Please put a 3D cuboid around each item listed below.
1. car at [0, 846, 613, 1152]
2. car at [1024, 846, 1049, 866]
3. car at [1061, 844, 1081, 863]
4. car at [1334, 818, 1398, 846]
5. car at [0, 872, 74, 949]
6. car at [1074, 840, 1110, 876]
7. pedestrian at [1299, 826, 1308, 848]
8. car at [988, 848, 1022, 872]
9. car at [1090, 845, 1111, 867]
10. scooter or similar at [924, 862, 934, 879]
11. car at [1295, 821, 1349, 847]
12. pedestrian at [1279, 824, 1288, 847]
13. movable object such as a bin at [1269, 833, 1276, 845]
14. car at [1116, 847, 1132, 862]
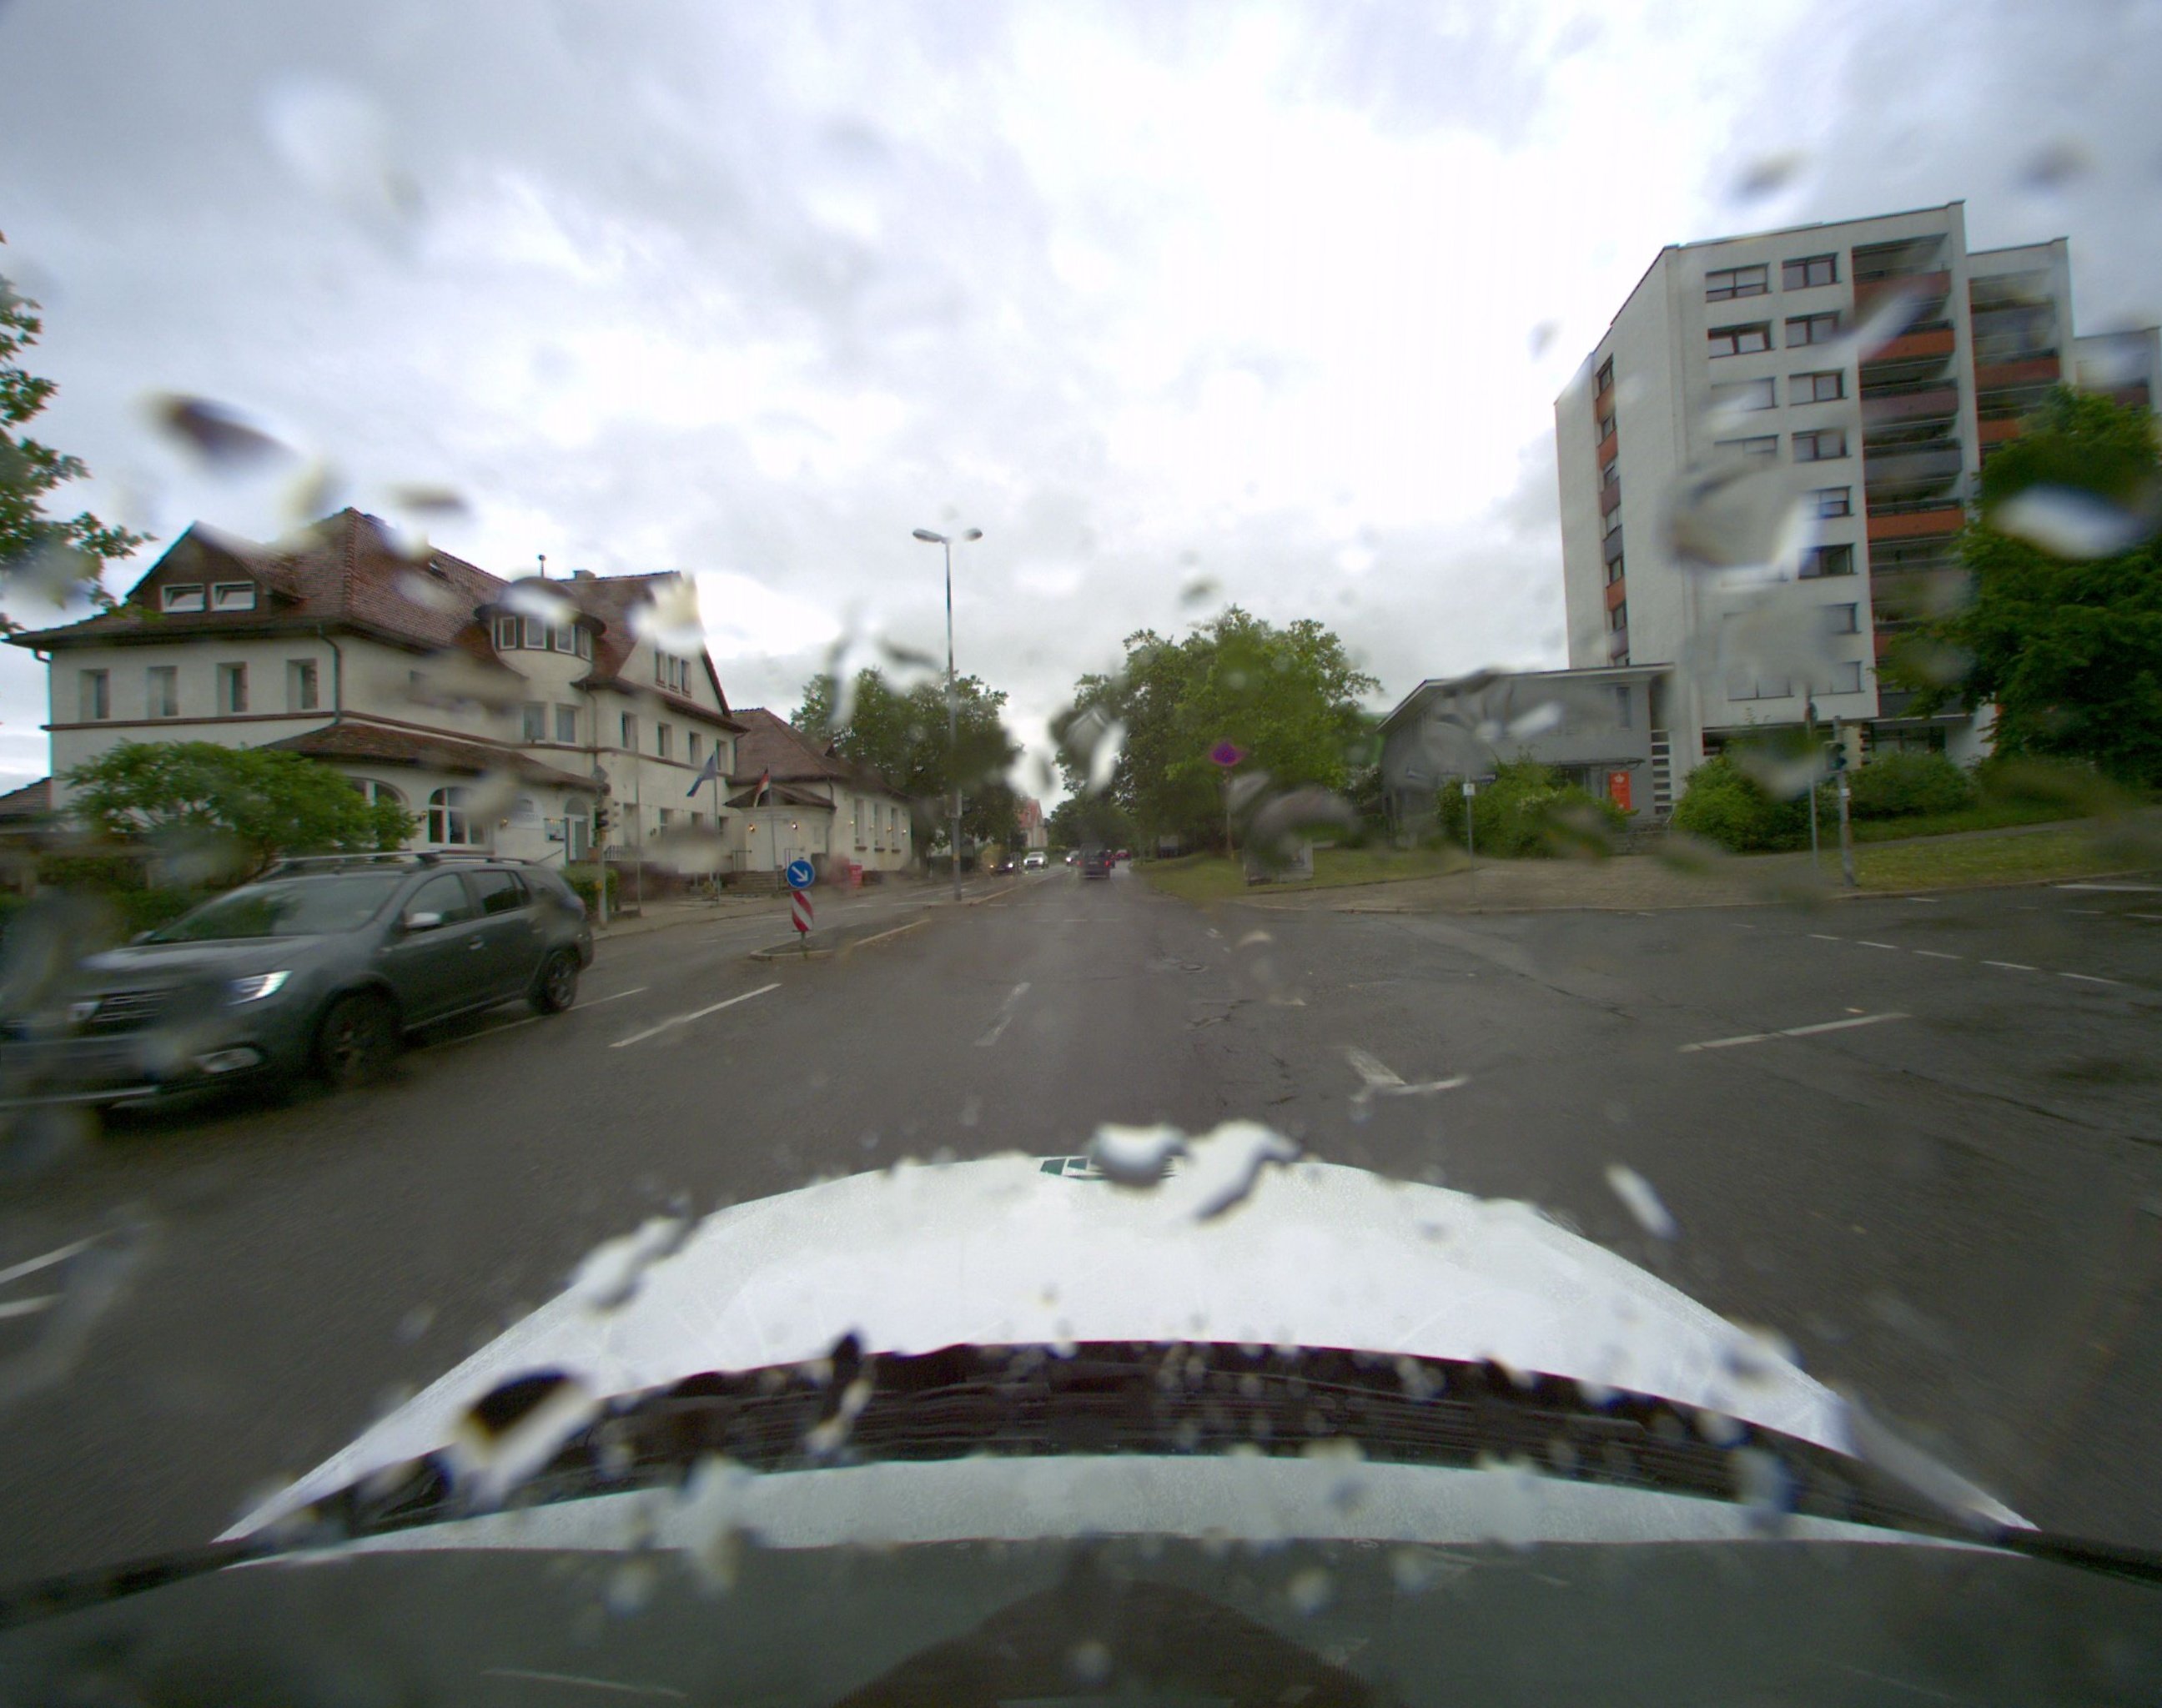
[{"bbox_3d":[-5.862,0.773,6.650,1.897,1.577,4.491,-2,1,-8],"label":"car"},{"bbox_3d":[-4.069,0.179,75.277,1.822,1.671,4.054,-2,1,3],"label":"car"},{"bbox_3d":[-0.948,-0.050,78.978,1.740,1.671,3.710,-2,1,3],"label":"car"},{"bbox_3d":[19.532,-1.466,55.986,3.960,1.816,2.007,0,0,12],"label":"car"},{"bbox_3d":[-29.653,1.517,21.144,1.987,2.013,4.000,0,0,1],"label":"car"},{"bbox_3d":[0.616,0.199,43.269,1.806,1.808,3.758,0,0,2],"label":"car"},{"bbox_3d":[16.168,-1.219,59.099,0.597,1.617,0.527,0,0,11],"label":"pedestrian"},{"bbox_3d":[-5.395,0.411,58.150,1.786,1.527,4.212,-2,1,3],"label":"car"},{"bbox_3d":[1.630,0.170,67.036,1.698,1.808,3.686,0,0,2],"label":"car"},{"bbox_3d":[-9.608,1.030,51.483,0.388,1.064,1.410,0,0,1],"label":"scooter or similar"},{"bbox_3d":[18.776,-1.527,63.507,3.958,1.931,2.008,0,0,14],"label":"car"},{"bbox_3d":[15.944,-1.434,64.217,0.555,1.763,0.728,0,0,0],"label":"pedestrian"},{"bbox_3d":[14.157,-1.108,60.142,0.446,0.906,0.465,0,0,20],"label":"movable object such as a bin"},{"bbox_3d":[5.656,0.033,106.952,1.986,1.882,4.002,0,0,2],"label":"car"}]
